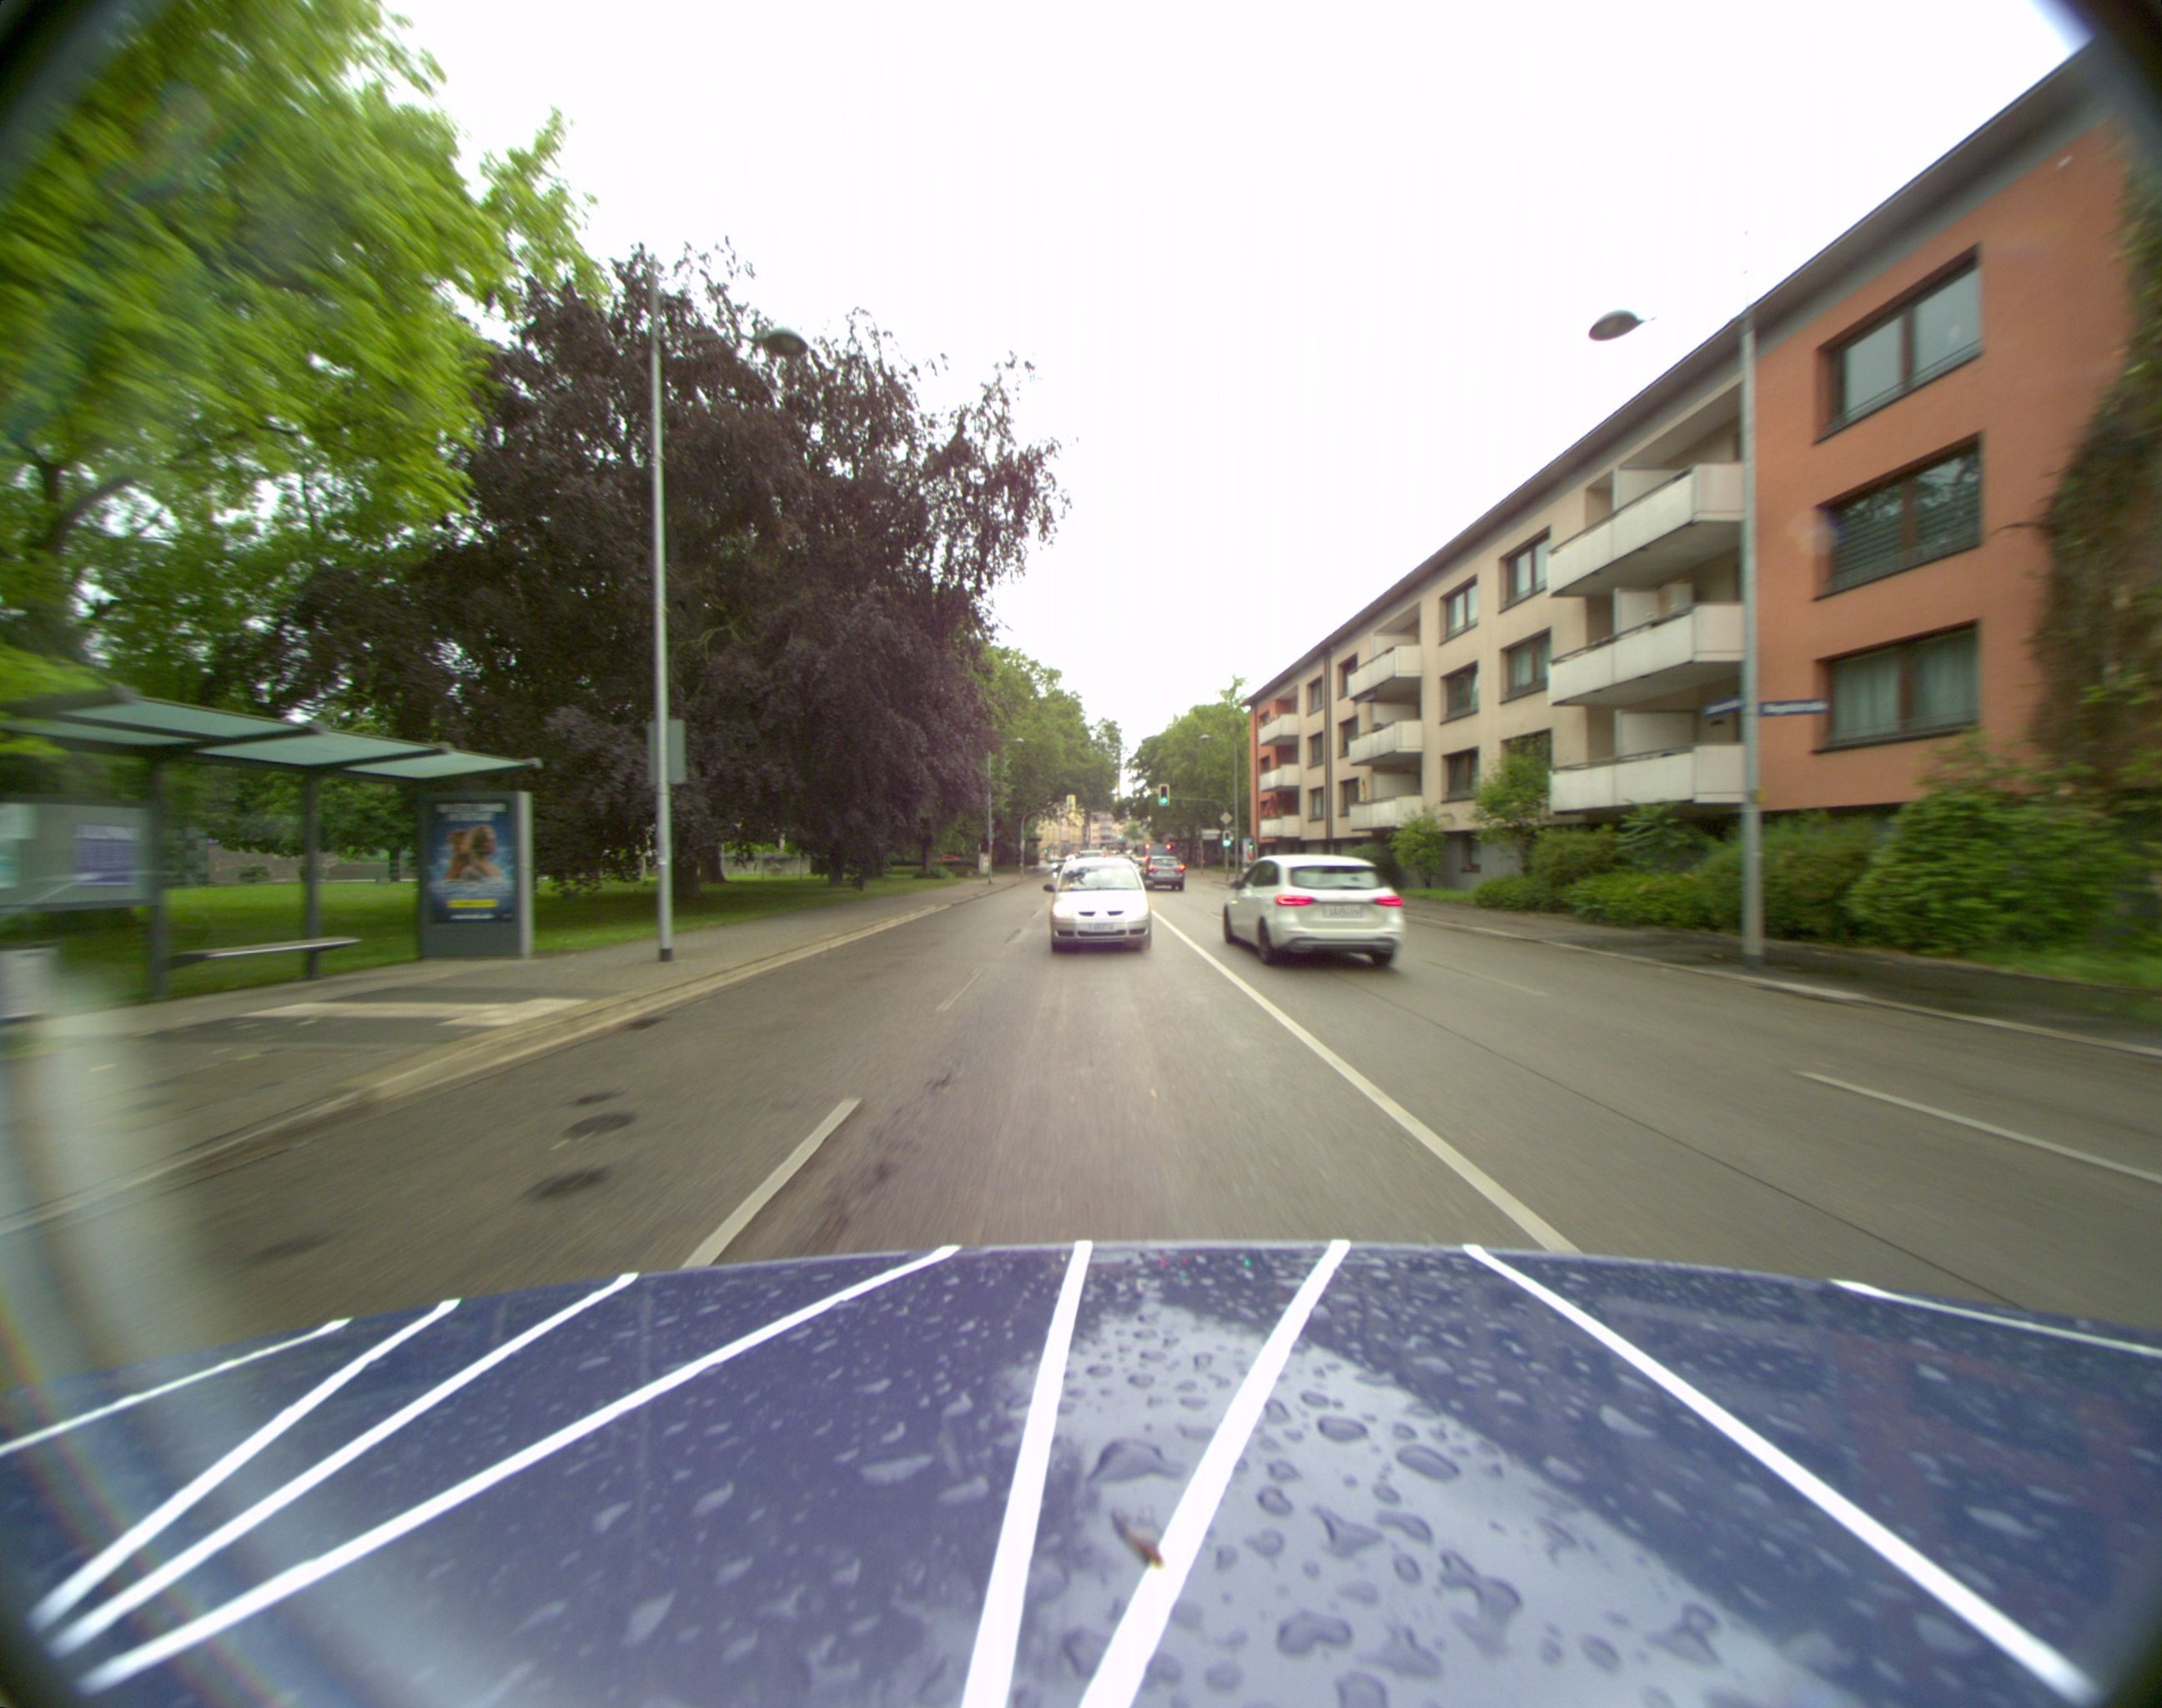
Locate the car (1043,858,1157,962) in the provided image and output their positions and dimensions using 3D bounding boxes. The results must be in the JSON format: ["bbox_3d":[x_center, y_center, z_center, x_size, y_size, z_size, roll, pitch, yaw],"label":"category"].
[{"bbox_3d":[0.316,0.883,14.283,1.718,1.509,4.806,-3,0,0],"label":"car"}]

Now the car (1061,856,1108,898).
[{"bbox_3d":[0.145,0.882,30.807,1.718,1.509,4.088,-1,0,0],"label":"car"}]

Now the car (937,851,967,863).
[{"bbox_3d":[-18.394,0.380,108.296,3.998,1.706,1.999,0,0,-2],"label":"car"}]

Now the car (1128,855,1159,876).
[{"bbox_3d":[4.331,0.795,53.417,1.818,1.407,4.048,0,0,0],"label":"car"}]

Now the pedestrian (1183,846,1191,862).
[{"bbox_3d":[12.434,0.010,89.001,0.711,1.759,0.687,-3,1,1],"label":"pedestrian"}]

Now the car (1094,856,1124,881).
[{"bbox_3d":[1.759,0.884,48.014,1.800,1.449,4.491,0,0,1],"label":"car"}]

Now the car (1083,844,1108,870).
[{"bbox_3d":[1.227,0.233,64.882,2.037,2.119,4.000,-1,1,1],"label":"car"}]

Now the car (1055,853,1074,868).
[{"bbox_3d":[-1.833,0.729,85.324,1.906,1.538,4.000,-1,1,1],"label":"car"}]

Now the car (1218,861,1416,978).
[{"bbox_3d":[3.378,0.851,11.771,1.786,1.465,4.167,0,0,0],"label":"car"}]

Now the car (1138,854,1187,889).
[{"bbox_3d":[3.808,0.793,36.057,1.818,1.569,4.231,0,0,-1],"label":"car"}]

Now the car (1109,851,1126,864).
[{"bbox_3d":[4.144,0.407,87.038,1.691,1.483,3.890,1,0,0],"label":"car"}]

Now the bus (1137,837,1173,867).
[{"bbox_3d":[7.716,-0.230,80.292,2.700,2.923,12.083,0,1,1],"label":"bus"}]

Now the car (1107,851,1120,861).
[{"bbox_3d":[5.047,0.313,117.550,1.798,1.407,4.335,0,0,0],"label":"car"}]
